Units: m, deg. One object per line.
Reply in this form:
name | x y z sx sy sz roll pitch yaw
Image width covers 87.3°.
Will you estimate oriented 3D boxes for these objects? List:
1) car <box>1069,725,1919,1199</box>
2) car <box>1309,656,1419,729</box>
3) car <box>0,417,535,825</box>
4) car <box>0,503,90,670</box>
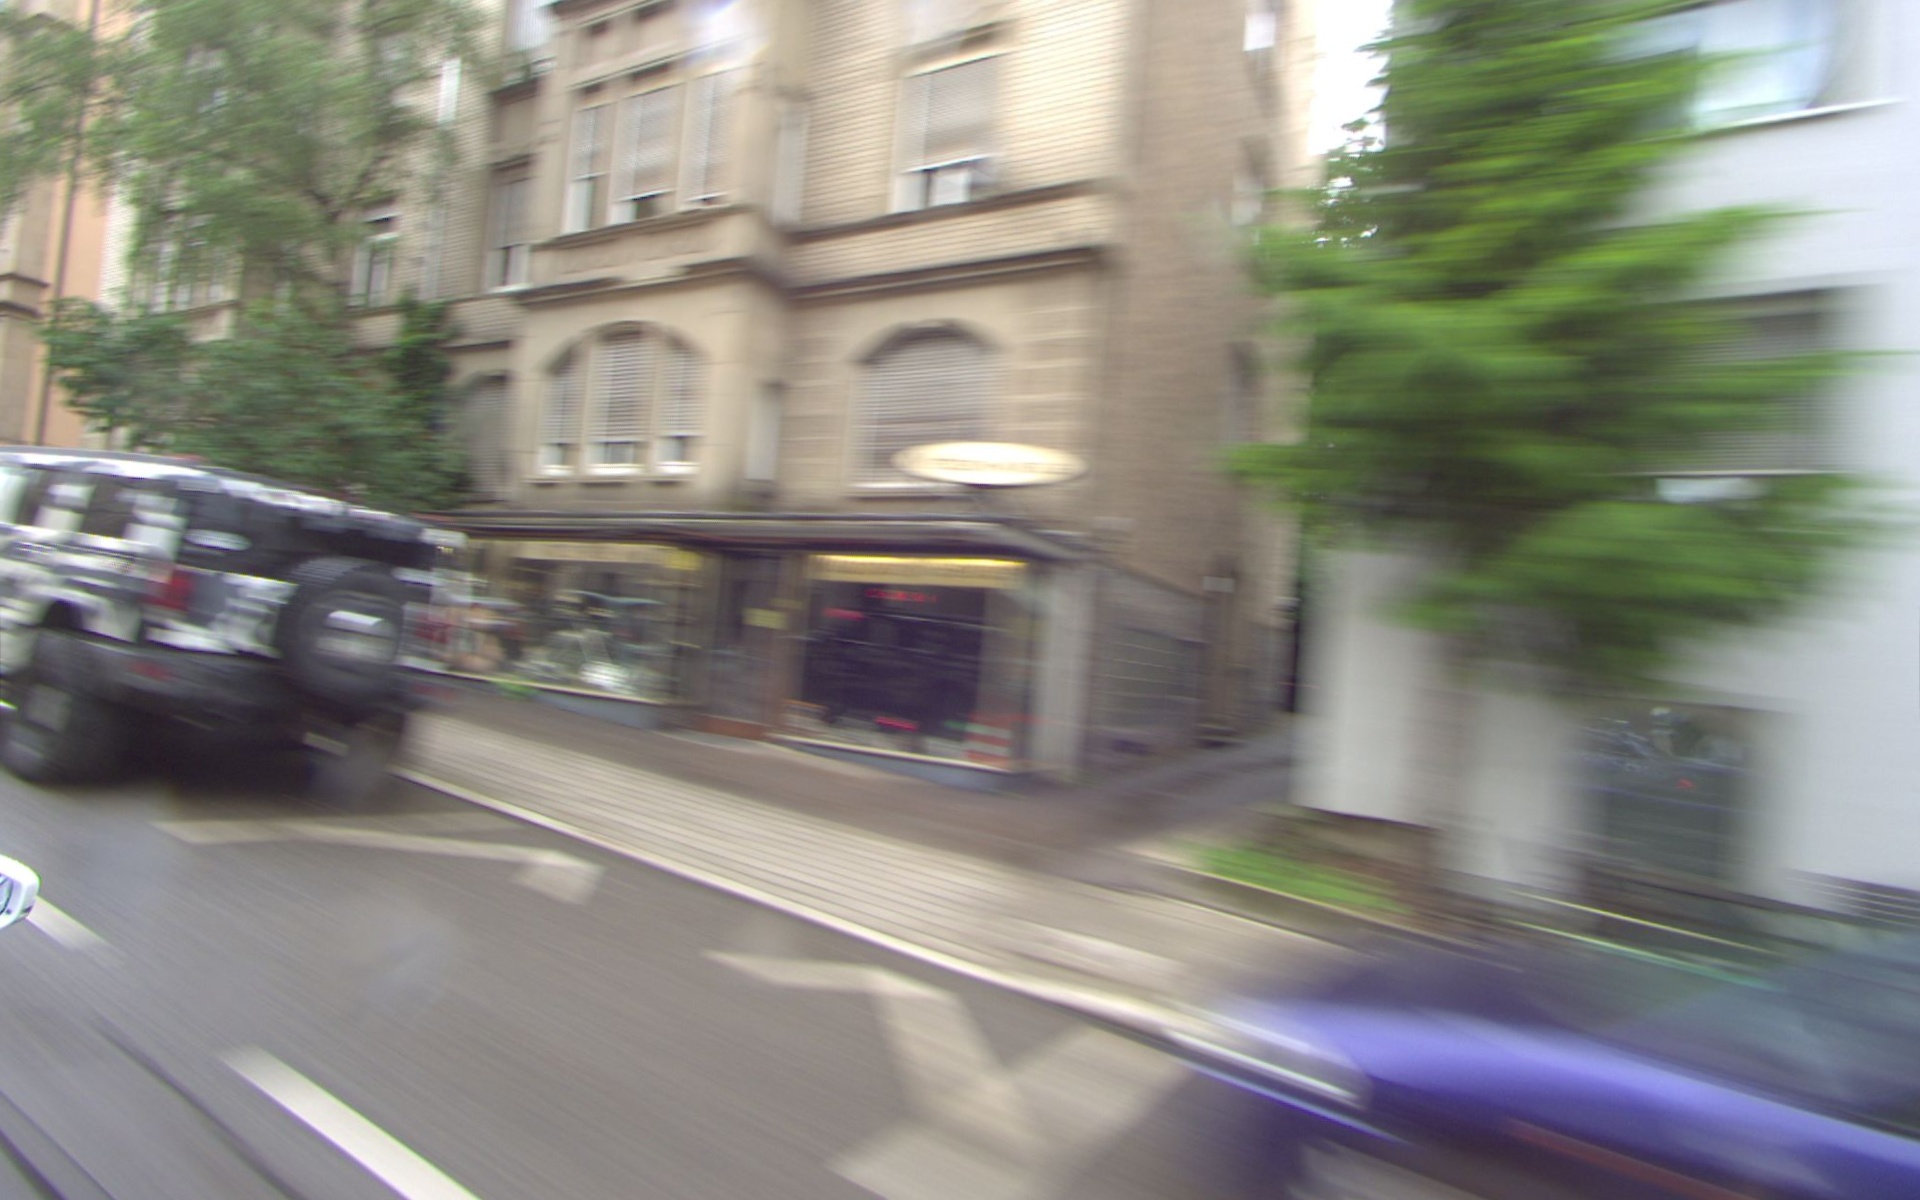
car | 2.410 1.304 2.402 3.820 1.353 1.682 7 -3 34
car | 10.164 2.319 25.144 1.771 1.527 3.993 4 -3 32
car | -5.879 -0.012 7.261 5.258 2.034 2.137 7 -4 29
car | -10.910 -0.353 10.388 3.522 1.562 1.566 7 -4 28
